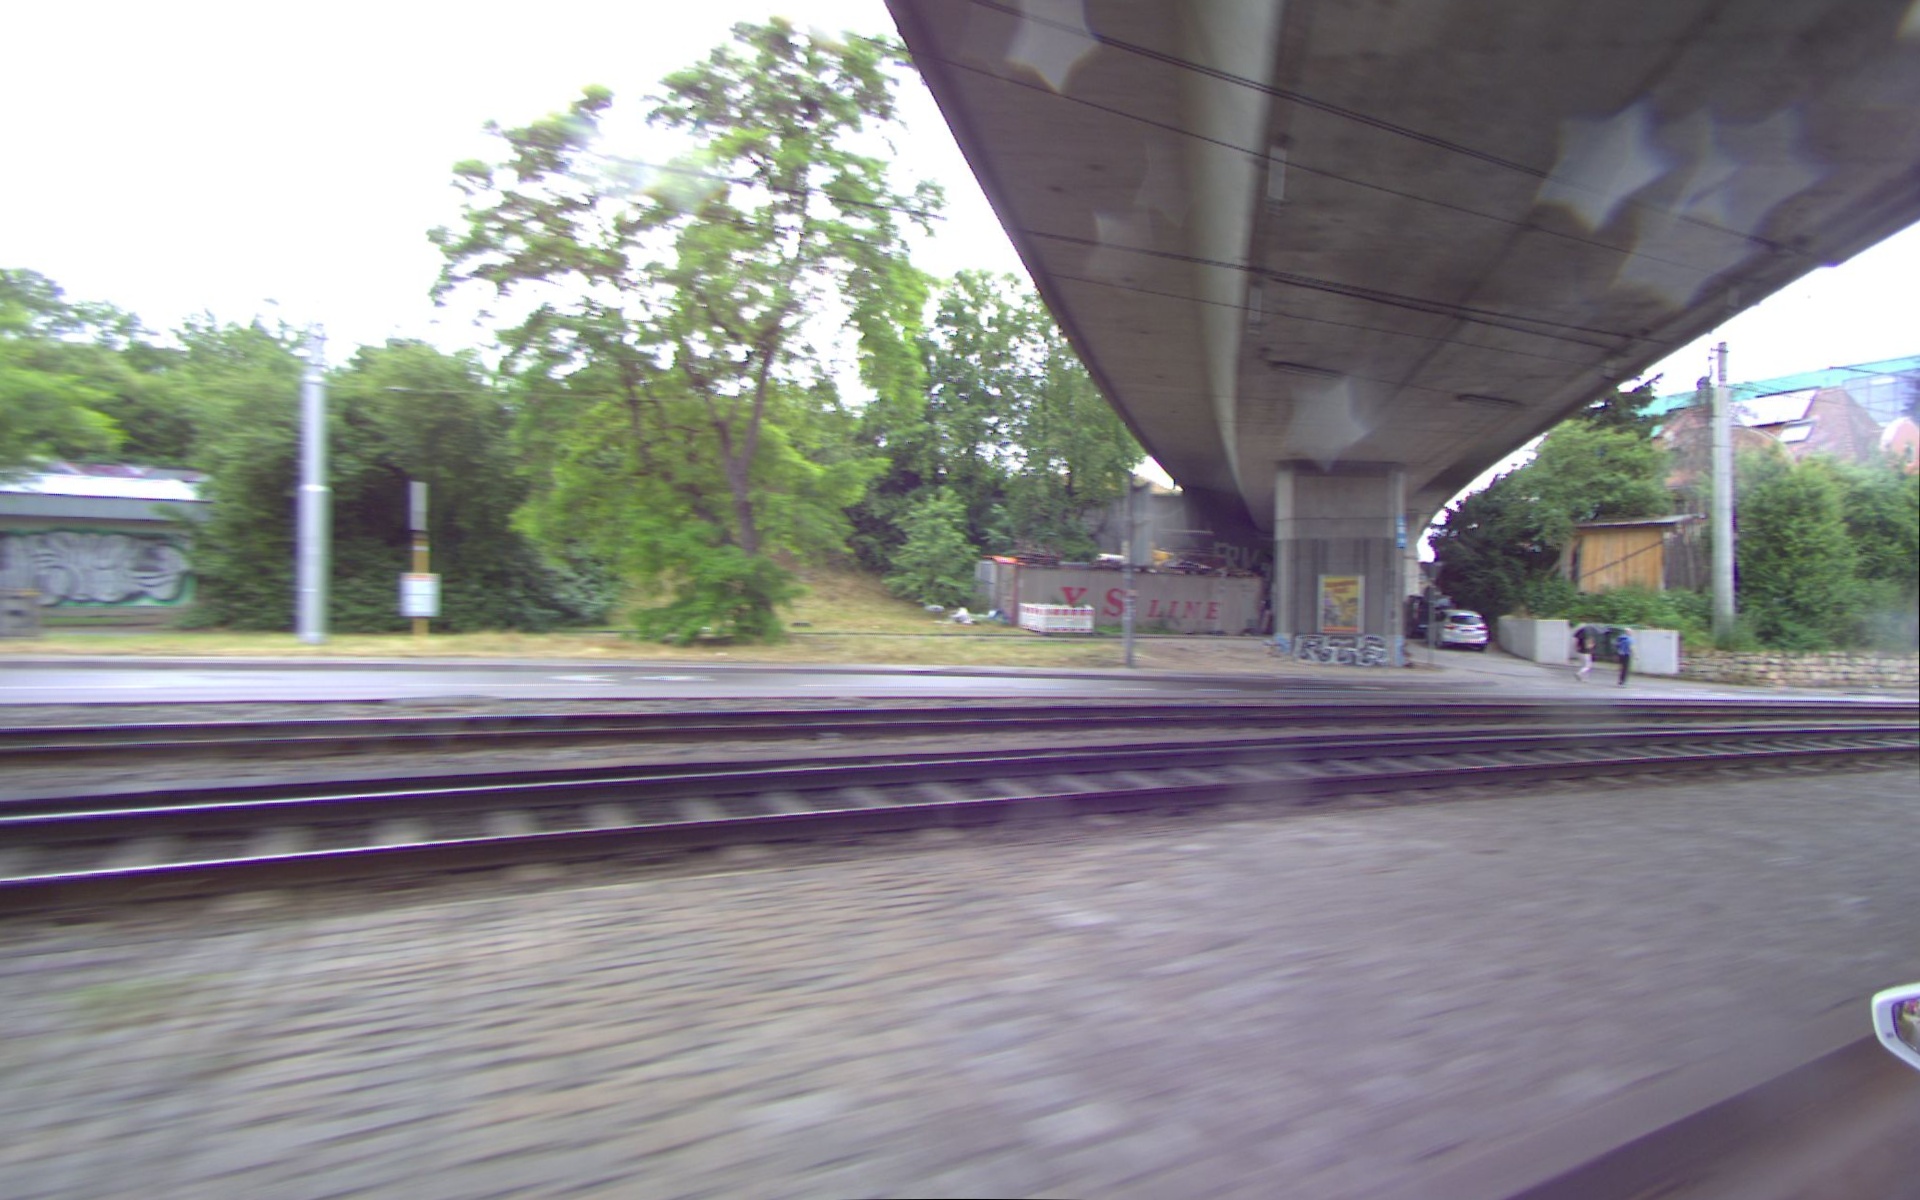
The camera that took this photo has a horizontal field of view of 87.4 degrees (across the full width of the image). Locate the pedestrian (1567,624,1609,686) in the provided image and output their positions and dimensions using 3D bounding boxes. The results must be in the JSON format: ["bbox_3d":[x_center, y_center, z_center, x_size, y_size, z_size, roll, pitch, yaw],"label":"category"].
[{"bbox_3d":[19.439,1.687,31.091,0.853,1.855,0.692,1,1,-20],"label":"pedestrian"}]

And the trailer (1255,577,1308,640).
[{"bbox_3d":[15.151,0.394,47.518,1.959,2.761,4.125,2,0,13],"label":"trailer"}]

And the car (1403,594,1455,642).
[{"bbox_3d":[22.187,0.814,47.645,1.762,2.067,3.198,3,3,18],"label":"car"}]

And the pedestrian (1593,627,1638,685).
[{"bbox_3d":[19.726,1.690,30.228,0.873,1.692,0.693,1,1,-17],"label":"pedestrian"}]

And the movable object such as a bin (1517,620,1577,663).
[{"bbox_3d":[22.813,1.600,39.114,1.530,1.499,1.802,2,2,15],"label":"movable object such as a bin"}]

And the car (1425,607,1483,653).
[{"bbox_3d":[20.965,1.241,42.739,1.685,1.690,3.198,3,3,18],"label":"car"}]
